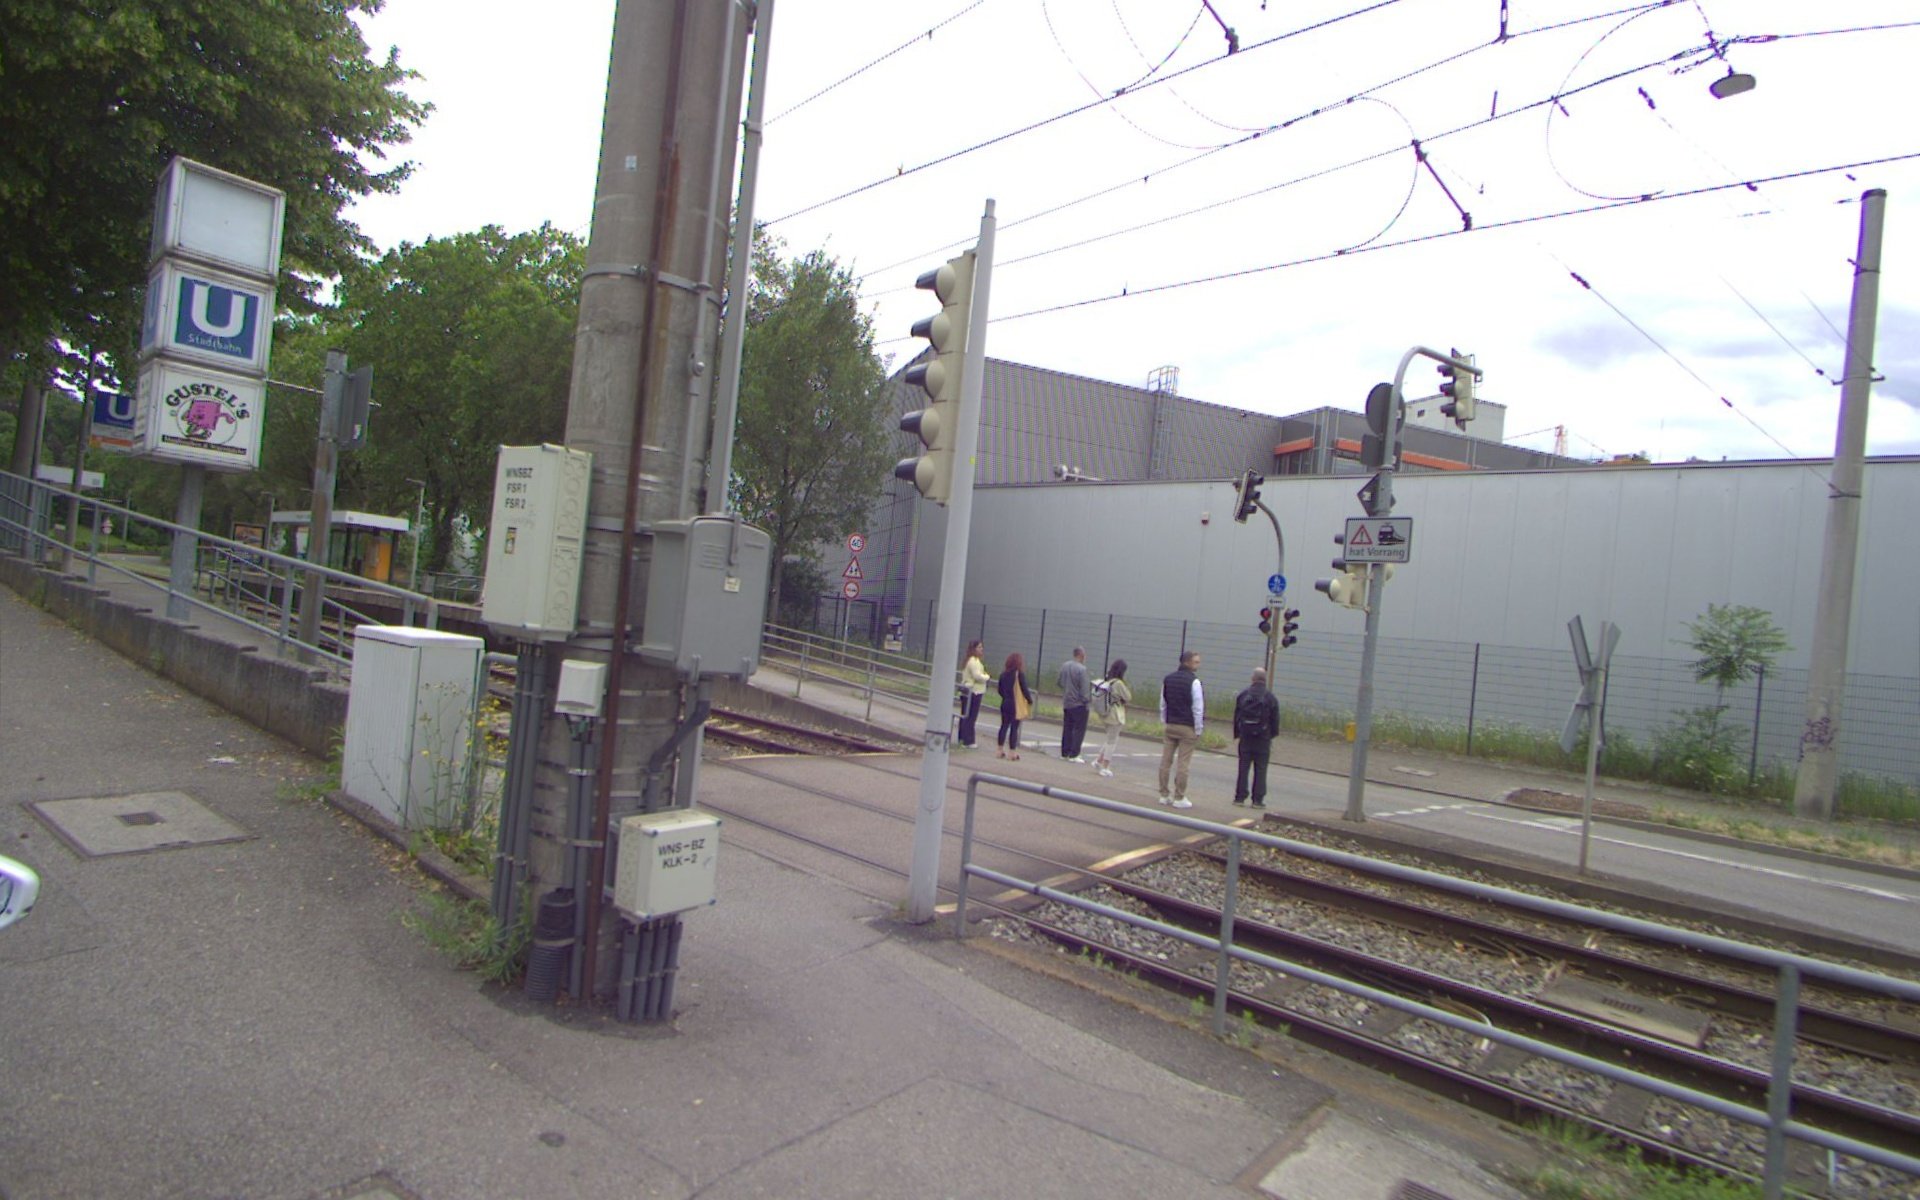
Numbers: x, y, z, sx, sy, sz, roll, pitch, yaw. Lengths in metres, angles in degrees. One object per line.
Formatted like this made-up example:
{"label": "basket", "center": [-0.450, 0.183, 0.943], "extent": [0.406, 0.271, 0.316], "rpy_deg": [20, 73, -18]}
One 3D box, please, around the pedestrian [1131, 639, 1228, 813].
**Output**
{"label": "pedestrian", "center": [2.524, 1.423, 11.507], "extent": [0.659, 1.842, 0.804], "rpy_deg": [7, -1, 31]}

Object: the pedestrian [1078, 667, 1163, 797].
{"label": "pedestrian", "center": [2.245, 1.844, 14.057], "extent": [0.727, 1.683, 0.679], "rpy_deg": [6, -4, 41]}

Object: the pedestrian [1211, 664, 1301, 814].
{"label": "pedestrian", "center": [3.616, 1.684, 12.334], "extent": [0.724, 1.683, 0.683], "rpy_deg": [8, -3, 3]}

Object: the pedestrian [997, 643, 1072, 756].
{"label": "pedestrian", "center": [1.204, 1.594, 16.226], "extent": [0.678, 1.683, 0.729], "rpy_deg": [11, -4, -43]}

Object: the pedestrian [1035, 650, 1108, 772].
{"label": "pedestrian", "center": [1.731, 1.725, 15.683], "extent": [0.548, 1.777, 0.729], "rpy_deg": [11, -4, -42]}
